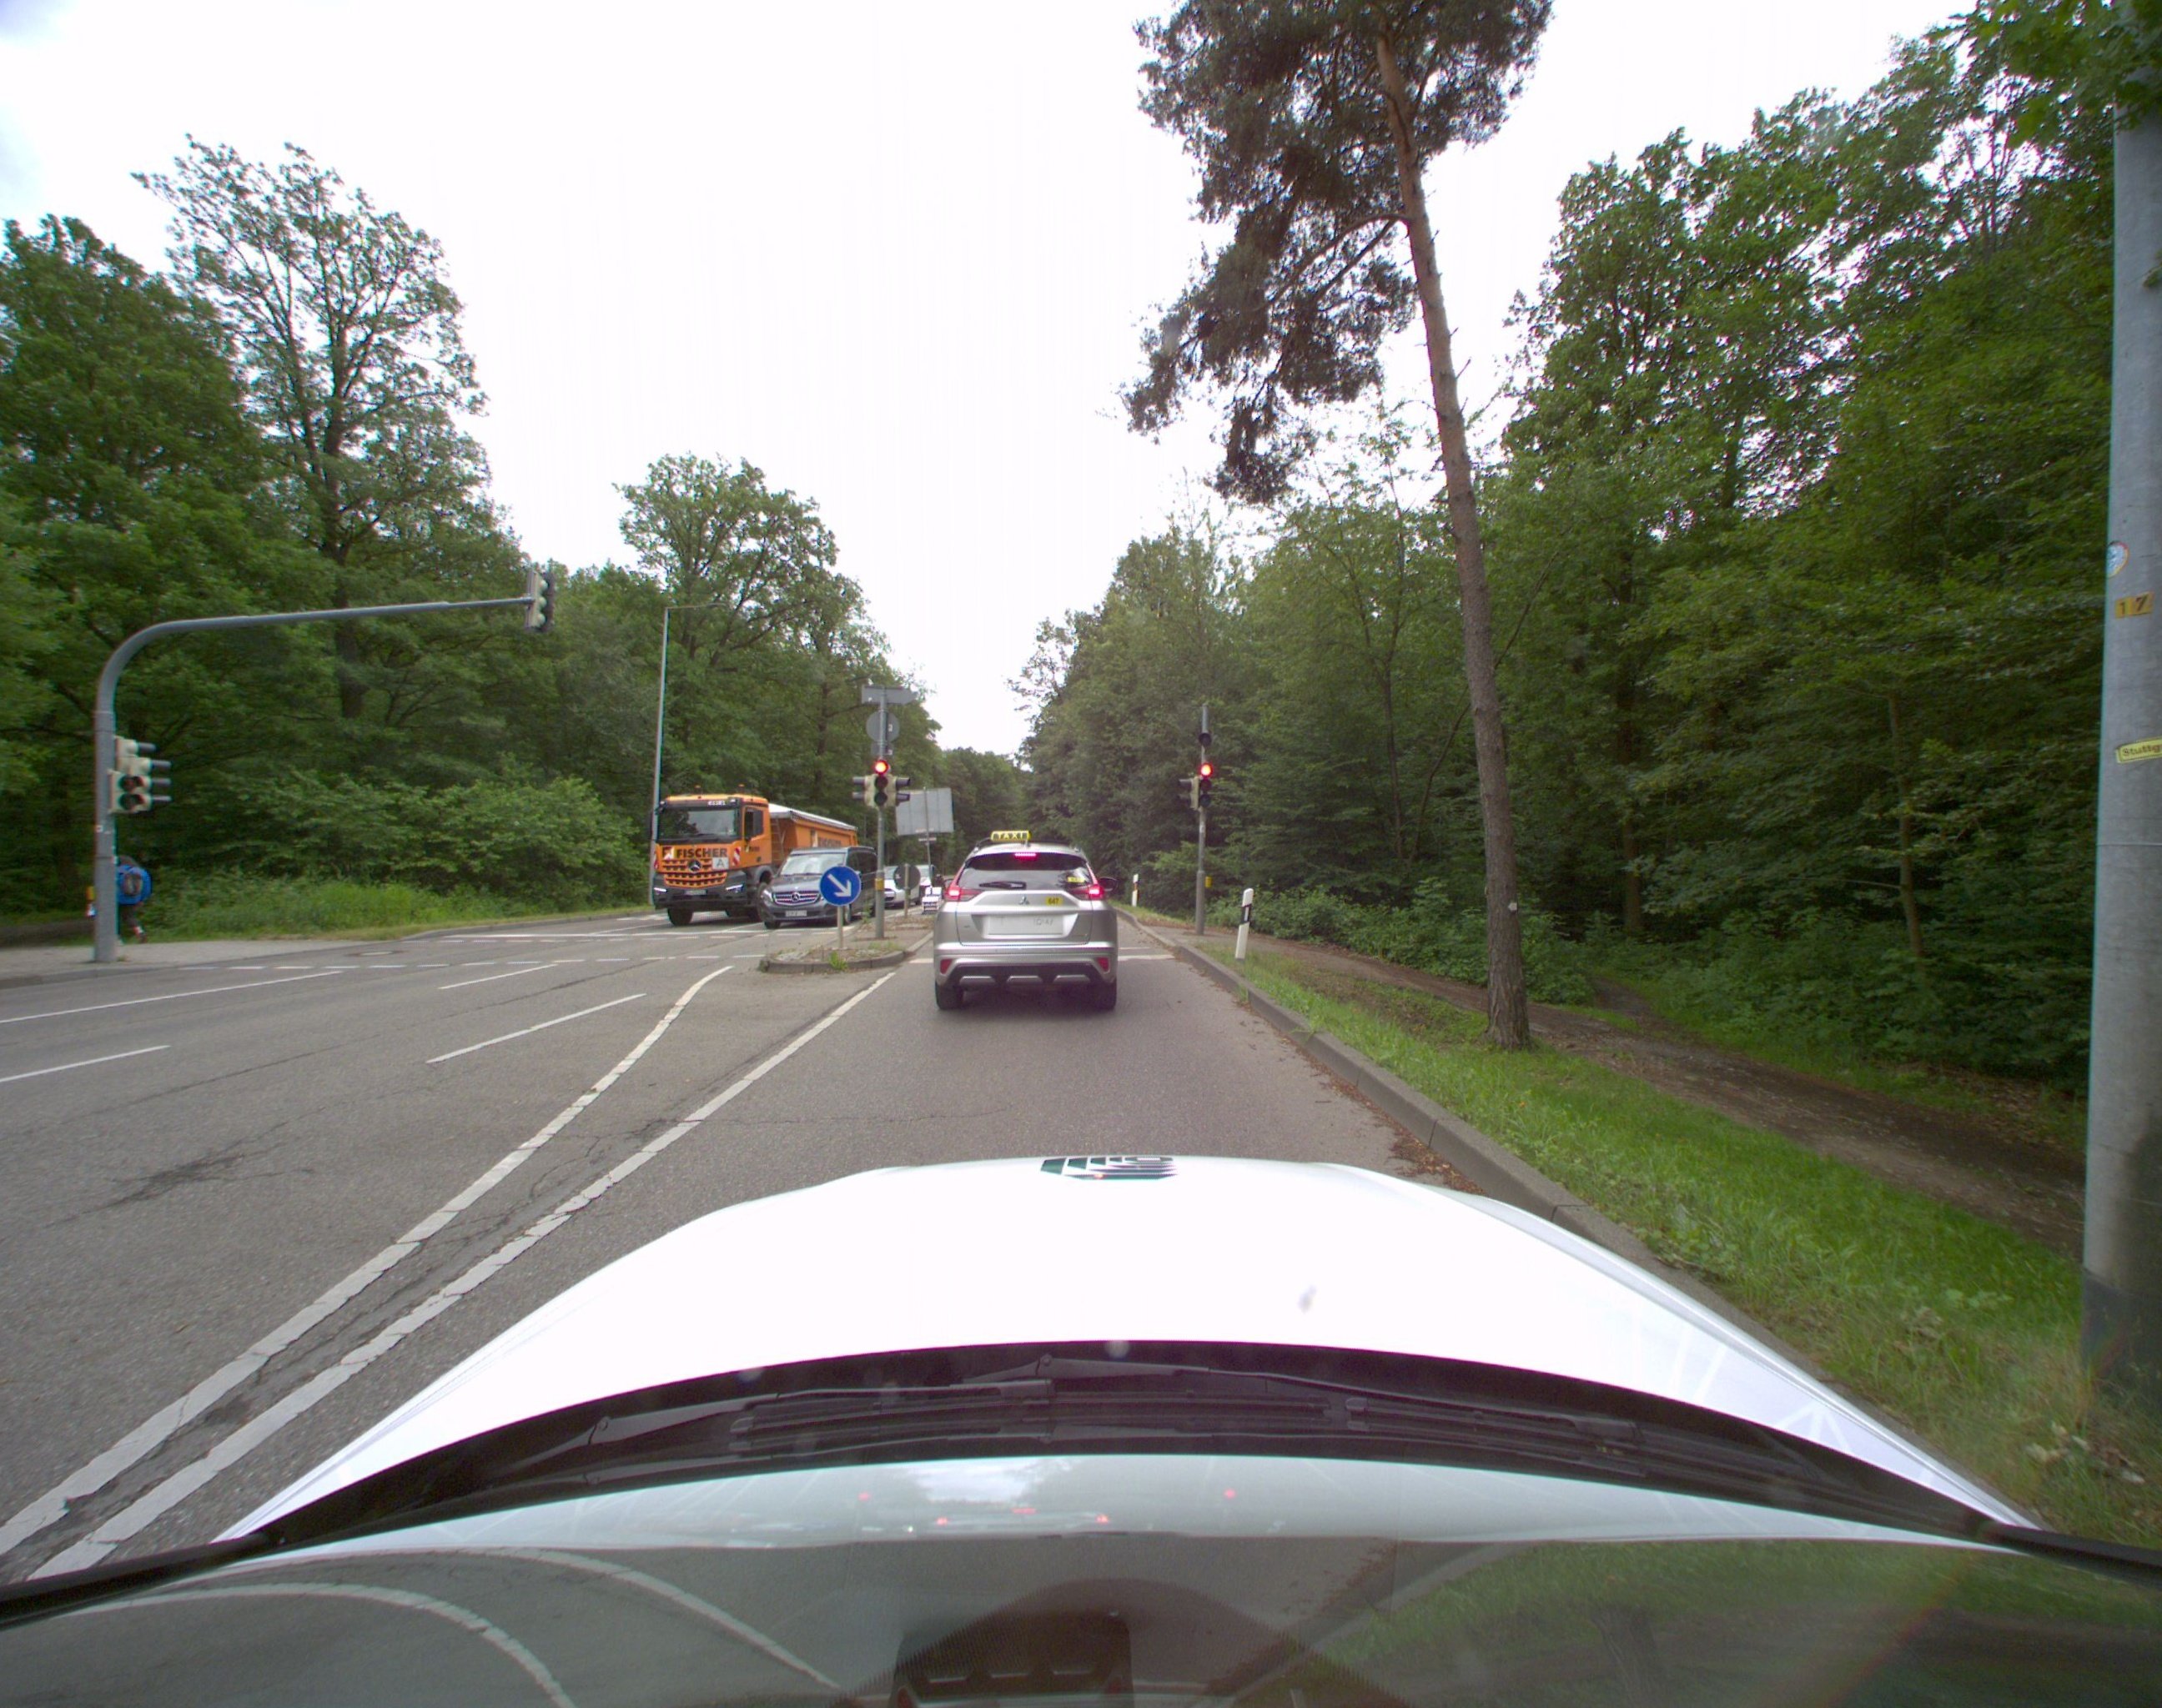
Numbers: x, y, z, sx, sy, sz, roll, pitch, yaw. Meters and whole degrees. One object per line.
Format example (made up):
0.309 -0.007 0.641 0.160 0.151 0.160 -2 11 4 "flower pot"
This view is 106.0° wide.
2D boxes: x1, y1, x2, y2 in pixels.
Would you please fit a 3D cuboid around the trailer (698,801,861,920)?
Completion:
-9.789 0.259 27.615 2.733 3.318 8.558 -2 -1 -3 "trailer"

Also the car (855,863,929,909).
-6.380 1.055 27.867 1.607 1.321 3.720 -3 0 -1 "car"

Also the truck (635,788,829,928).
-9.549 0.169 23.298 2.733 3.318 7.150 -2 -1 -3 "truck"

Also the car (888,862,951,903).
-6.631 1.137 33.809 1.806 1.508 3.720 -3 -1 -1 "car"

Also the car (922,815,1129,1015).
-0.605 0.550 9.298 1.843 1.780 3.995 0 0 -3 "car"

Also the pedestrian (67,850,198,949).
-16.991 0.786 14.620 1.042 1.649 1.070 3 1 4 "pedestrian"

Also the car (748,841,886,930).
-6.480 0.734 20.600 1.988 1.894 4.835 -2 -1 -2 "car"
